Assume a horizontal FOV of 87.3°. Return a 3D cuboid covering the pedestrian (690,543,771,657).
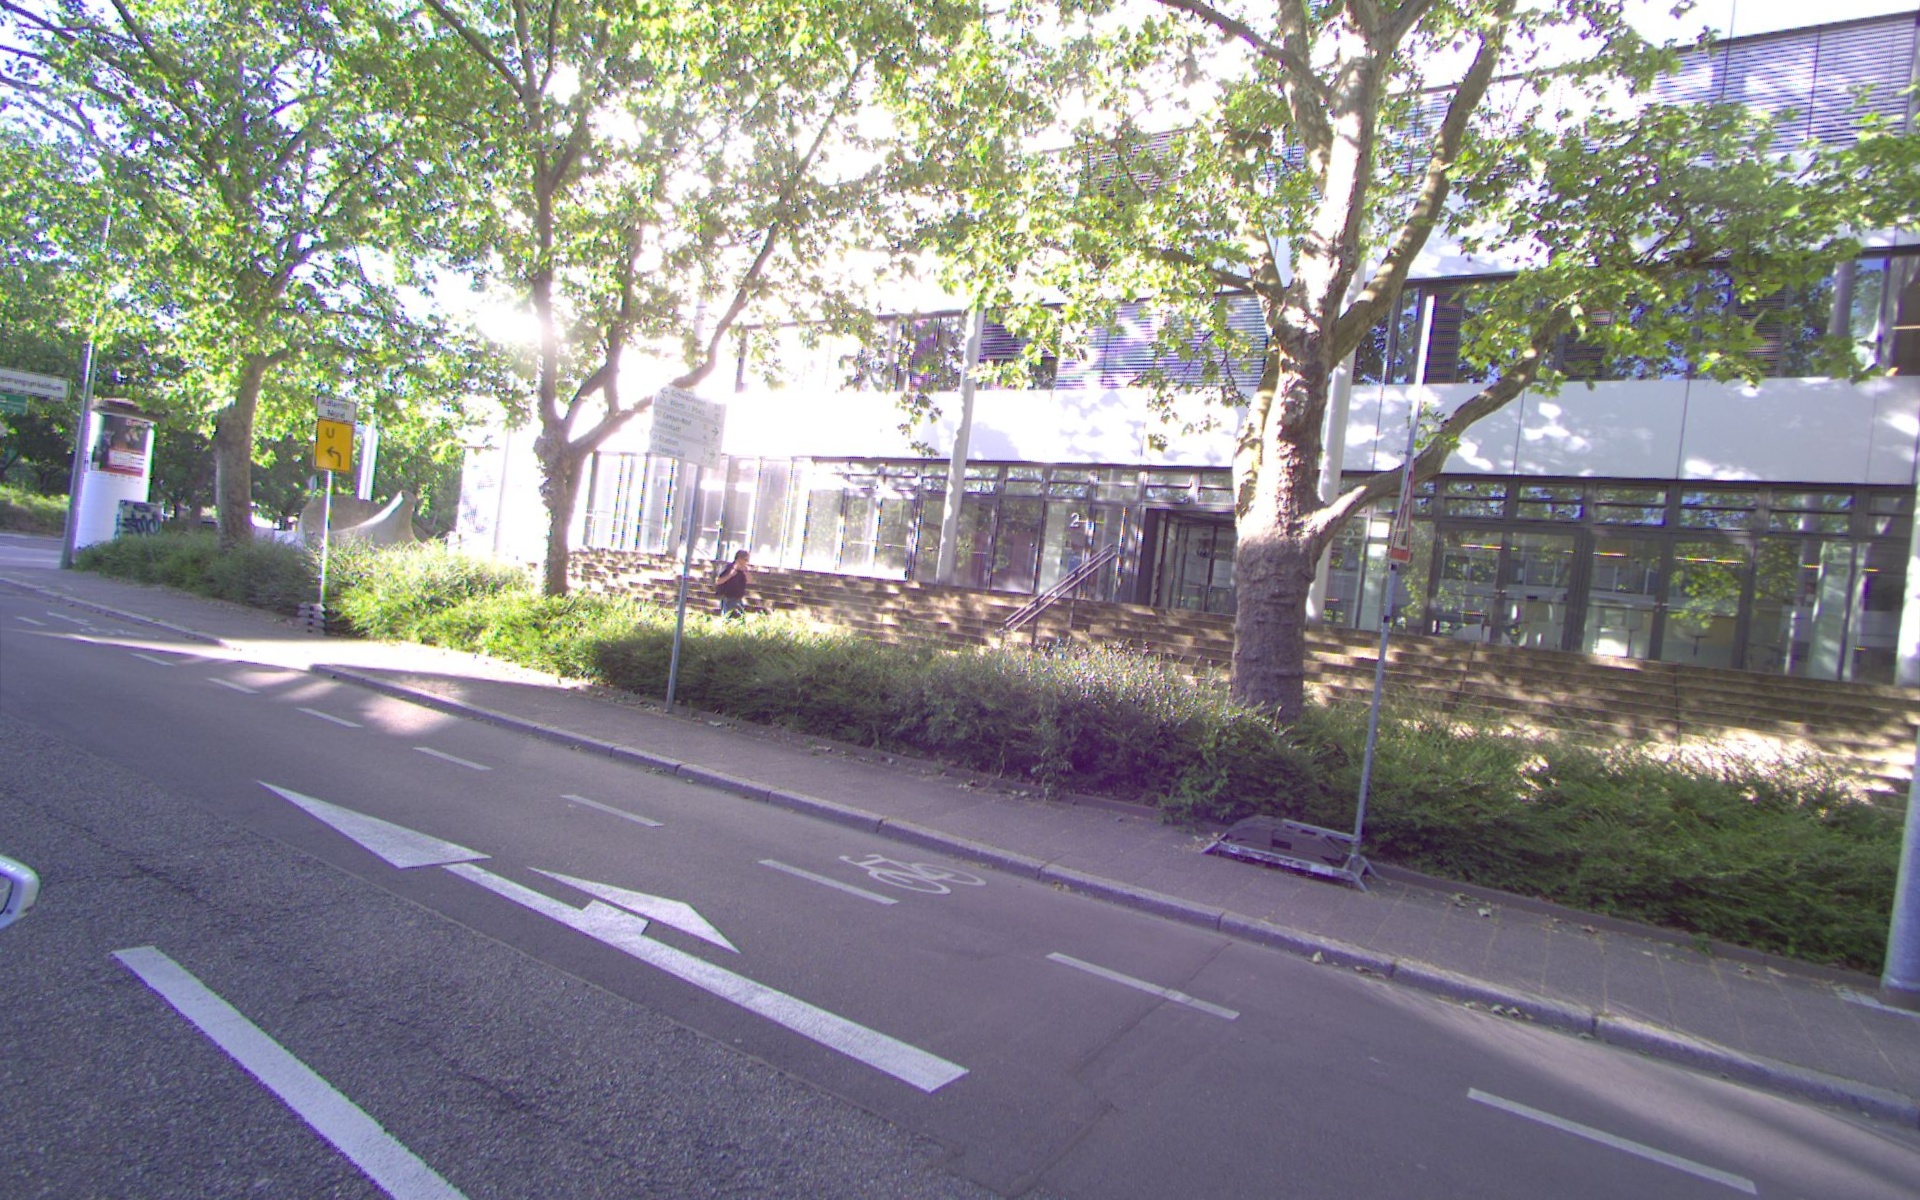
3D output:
[{"bbox_3d":[-3.903,0.004,17.154,0.848,1.802,0.785,7,0,30],"label":"pedestrian"}]
